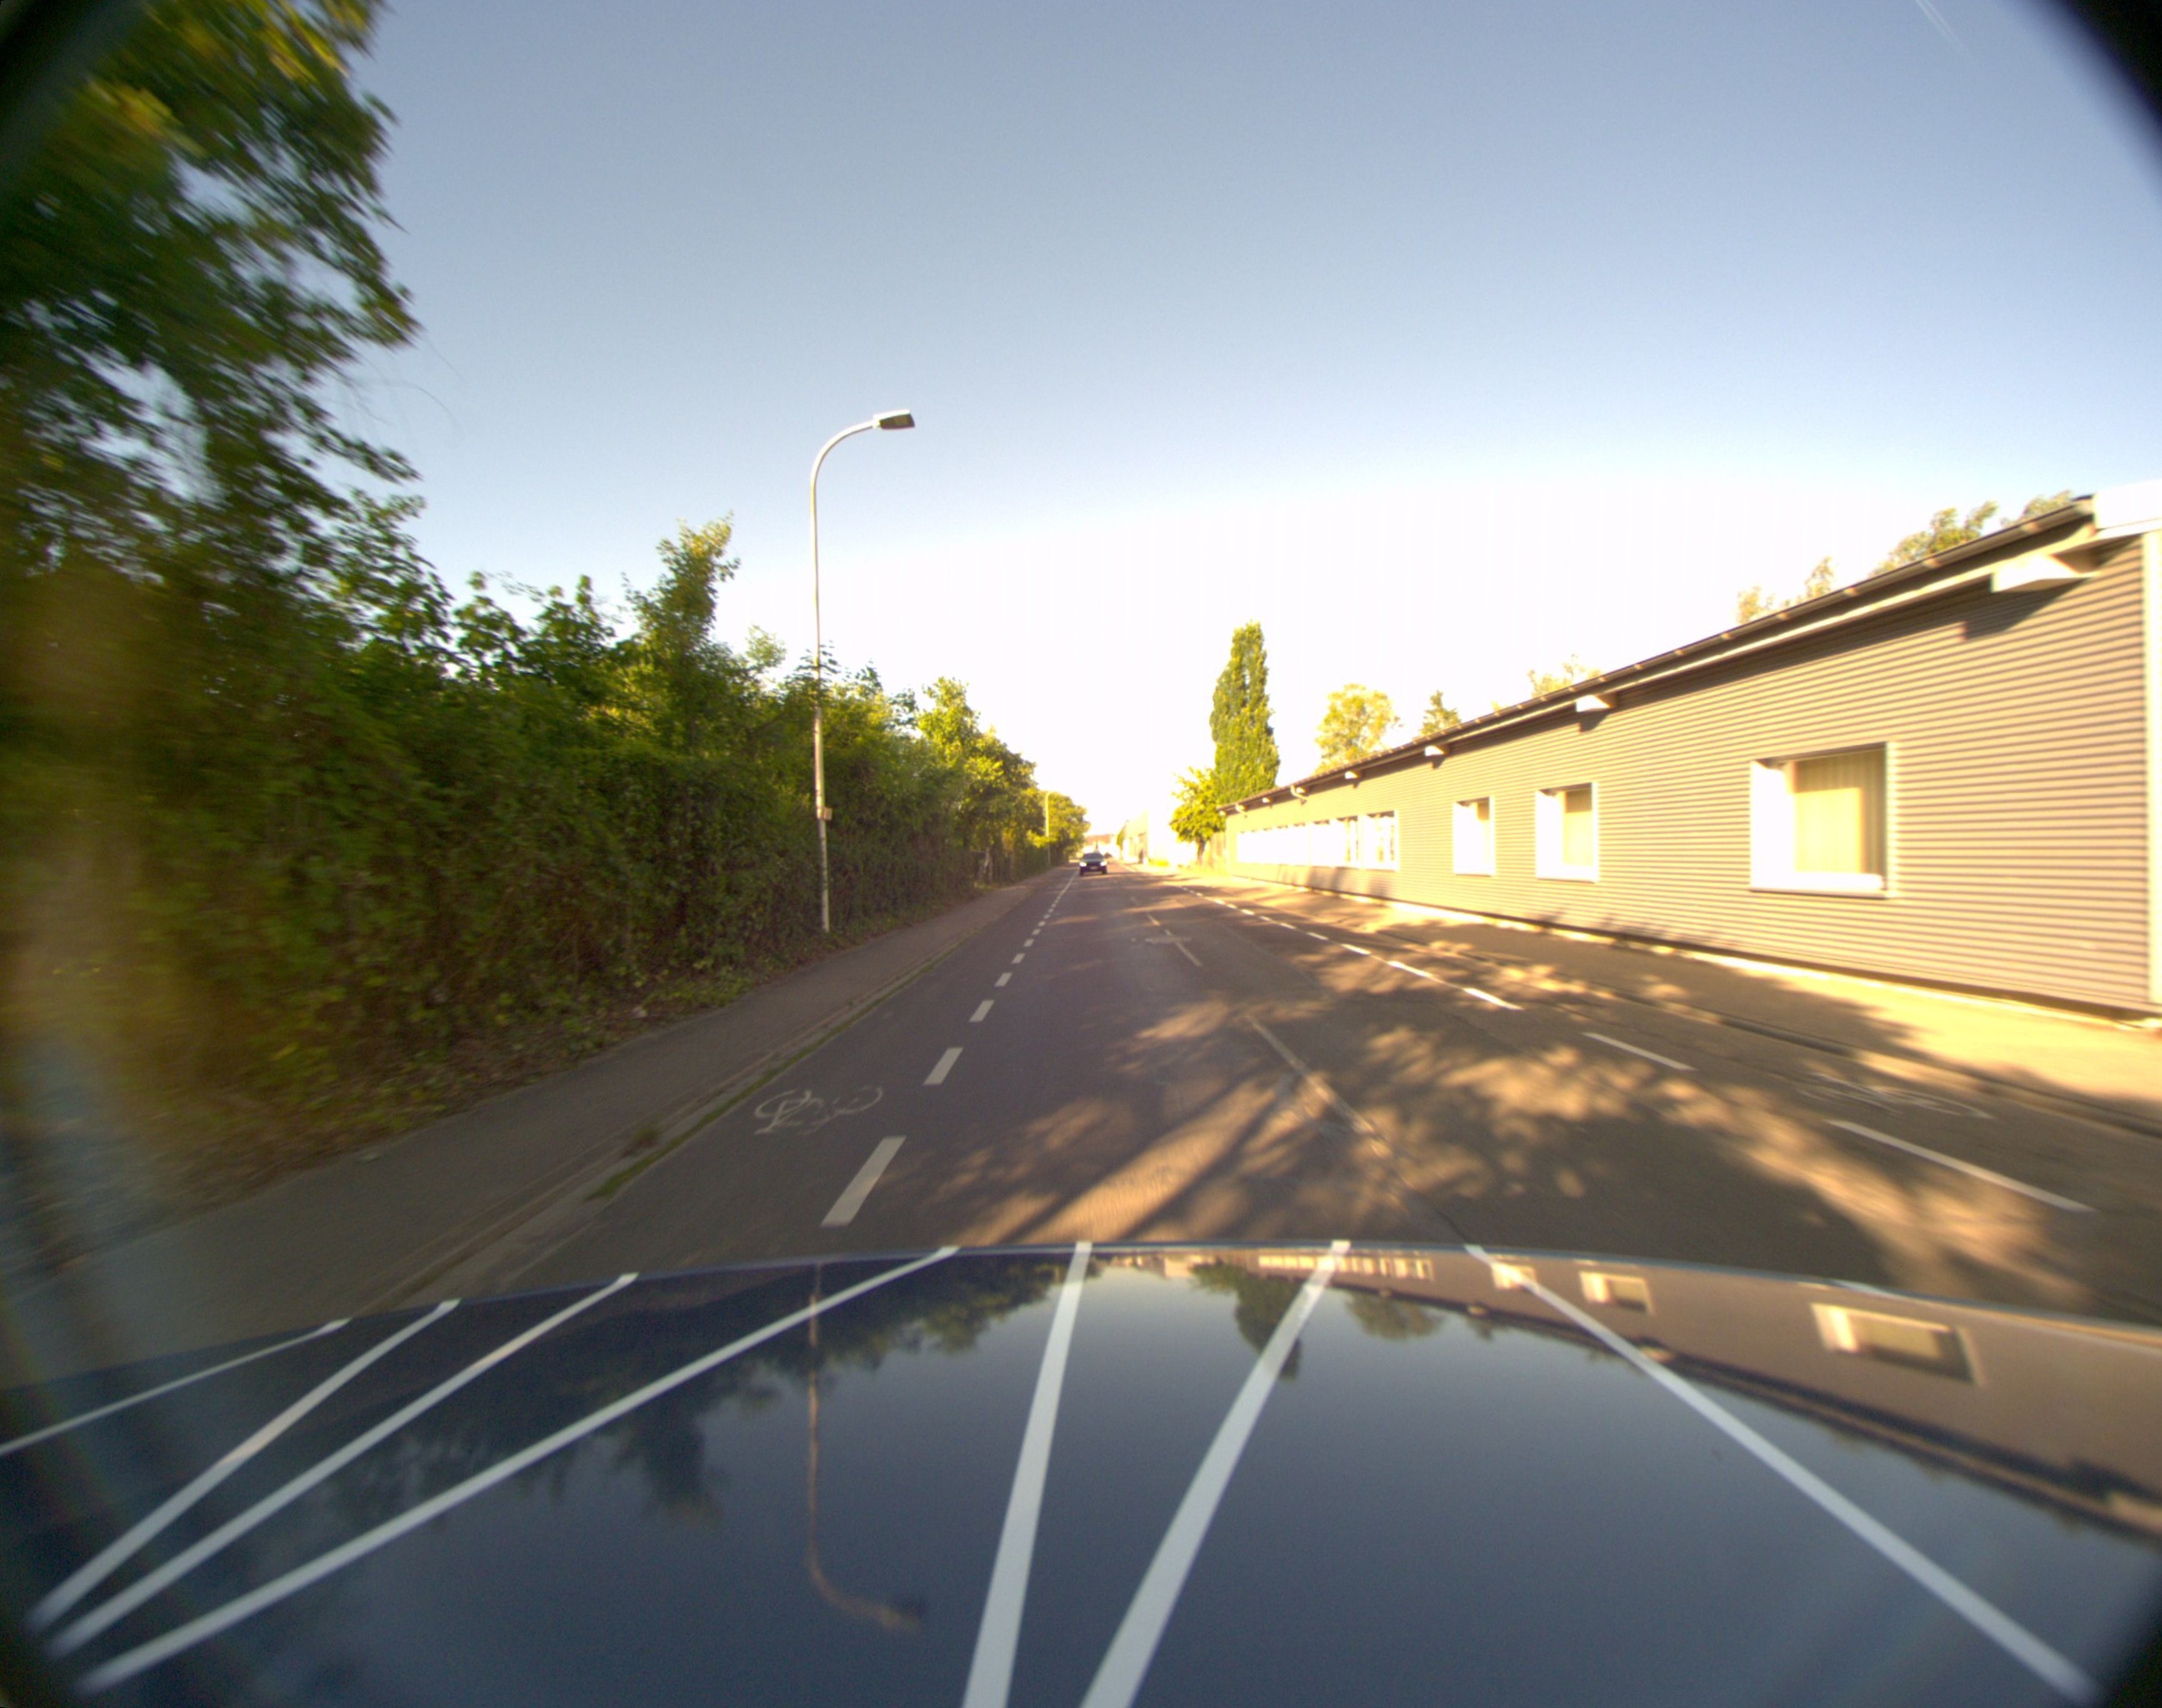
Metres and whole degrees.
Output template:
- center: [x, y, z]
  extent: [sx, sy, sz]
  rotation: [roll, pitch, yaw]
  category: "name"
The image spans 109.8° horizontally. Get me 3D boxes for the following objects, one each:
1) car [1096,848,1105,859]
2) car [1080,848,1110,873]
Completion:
- center: [5.280, -0.168, 207.213]
  extent: [2.128, 2.764, 5.925]
  rotation: [1, 1, 0]
  category: "car"
- center: [0.999, 0.461, 54.896]
  extent: [2.037, 1.623, 4.612]
  rotation: [-2, 1, 1]
  category: "car"
